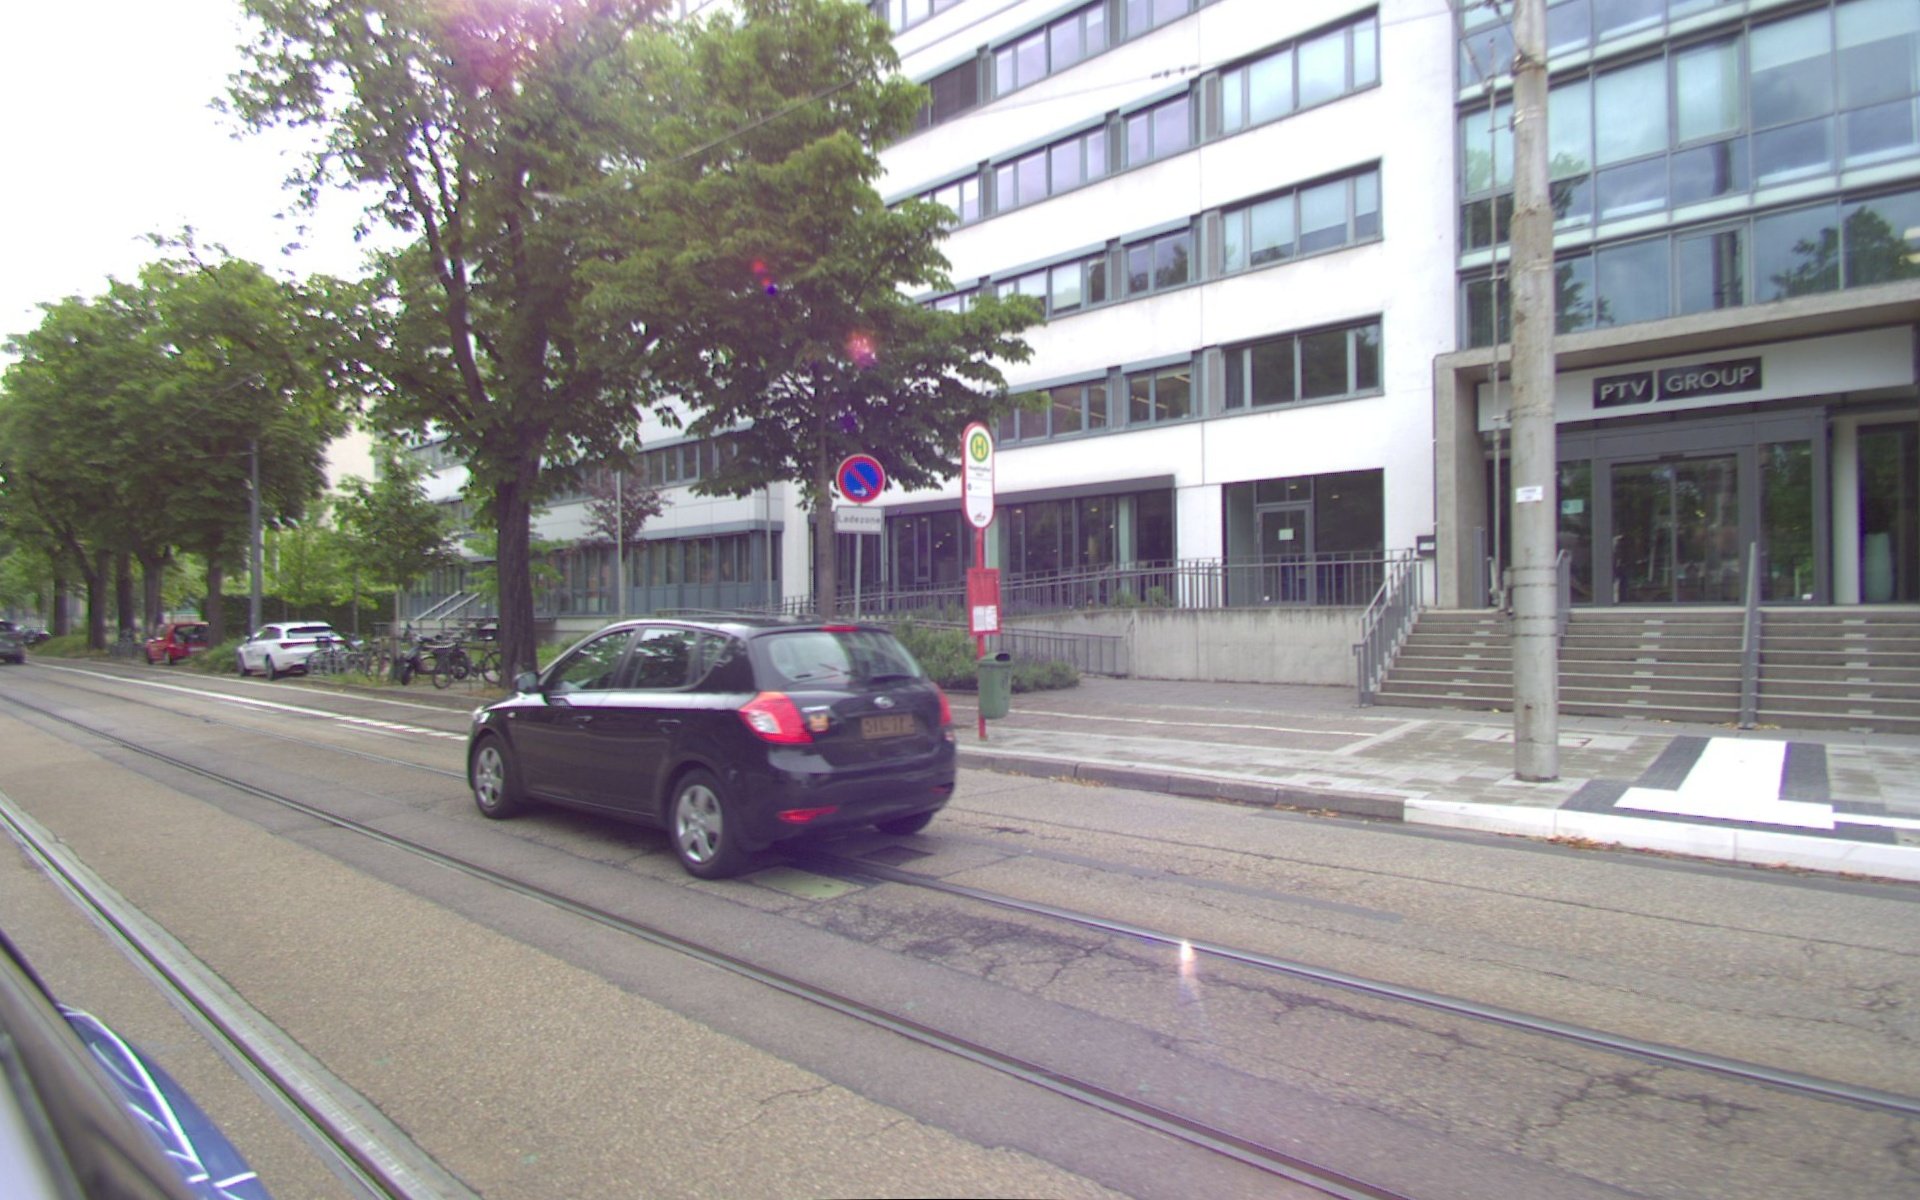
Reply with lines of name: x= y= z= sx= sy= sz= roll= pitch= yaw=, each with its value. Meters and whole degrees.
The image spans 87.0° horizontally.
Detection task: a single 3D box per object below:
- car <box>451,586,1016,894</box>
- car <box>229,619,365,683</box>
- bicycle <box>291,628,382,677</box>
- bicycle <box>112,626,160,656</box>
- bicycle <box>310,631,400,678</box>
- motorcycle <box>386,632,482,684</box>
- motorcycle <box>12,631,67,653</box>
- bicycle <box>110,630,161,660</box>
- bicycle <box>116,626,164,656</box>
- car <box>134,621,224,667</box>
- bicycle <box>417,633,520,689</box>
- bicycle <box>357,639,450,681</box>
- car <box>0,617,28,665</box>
car: x=-1.749 y=0.750 z=6.930 sx=4.061 sy=1.497 sz=1.729 roll=-2 pitch=-2 yaw=41
car: x=-18.014 y=1.320 z=27.414 sx=4.751 sy=1.504 sz=1.862 roll=-1 pitch=1 yaw=41
bicycle: x=-15.792 y=1.314 z=25.668 sx=1.843 sy=1.195 sz=0.633 roll=1 pitch=-2 yaw=-45
bicycle: x=-34.197 y=1.684 z=42.009 sx=0.617 sy=1.149 sz=1.455 roll=-1 pitch=1 yaw=40
bicycle: x=-14.938 y=1.321 z=25.033 sx=0.631 sy=1.108 sz=1.790 roll=0 pitch=-1 yaw=35
motorcycle: x=-11.740 y=1.273 z=22.651 sx=0.731 sy=1.058 sz=1.773 roll=-1 pitch=0 yaw=34
motorcycle: x=-50.196 y=2.283 z=55.197 sx=2.100 sy=1.111 sz=0.776 roll=-1 pitch=1 yaw=-8
bicycle: x=-33.243 y=1.798 z=40.804 sx=0.614 sy=1.100 sz=1.460 roll=-1 pitch=1 yaw=28
bicycle: x=-33.786 y=1.680 z=41.712 sx=0.617 sy=1.149 sz=1.454 roll=-1 pitch=0 yaw=40
car: x=-28.172 y=1.549 z=36.472 sx=3.752 sy=1.458 sz=1.613 roll=-1 pitch=2 yaw=38
bicycle: x=-10.169 y=1.239 z=21.007 sx=0.739 sy=1.061 sz=1.814 roll=-2 pitch=-1 yaw=32
bicycle: x=-12.977 y=1.385 z=23.645 sx=0.631 sy=0.906 sz=1.790 roll=0 pitch=-1 yaw=35
car: x=-35.010 y=1.471 z=36.283 sx=4.387 sy=1.667 sz=1.823 roll=-2 pitch=-3 yaw=41
